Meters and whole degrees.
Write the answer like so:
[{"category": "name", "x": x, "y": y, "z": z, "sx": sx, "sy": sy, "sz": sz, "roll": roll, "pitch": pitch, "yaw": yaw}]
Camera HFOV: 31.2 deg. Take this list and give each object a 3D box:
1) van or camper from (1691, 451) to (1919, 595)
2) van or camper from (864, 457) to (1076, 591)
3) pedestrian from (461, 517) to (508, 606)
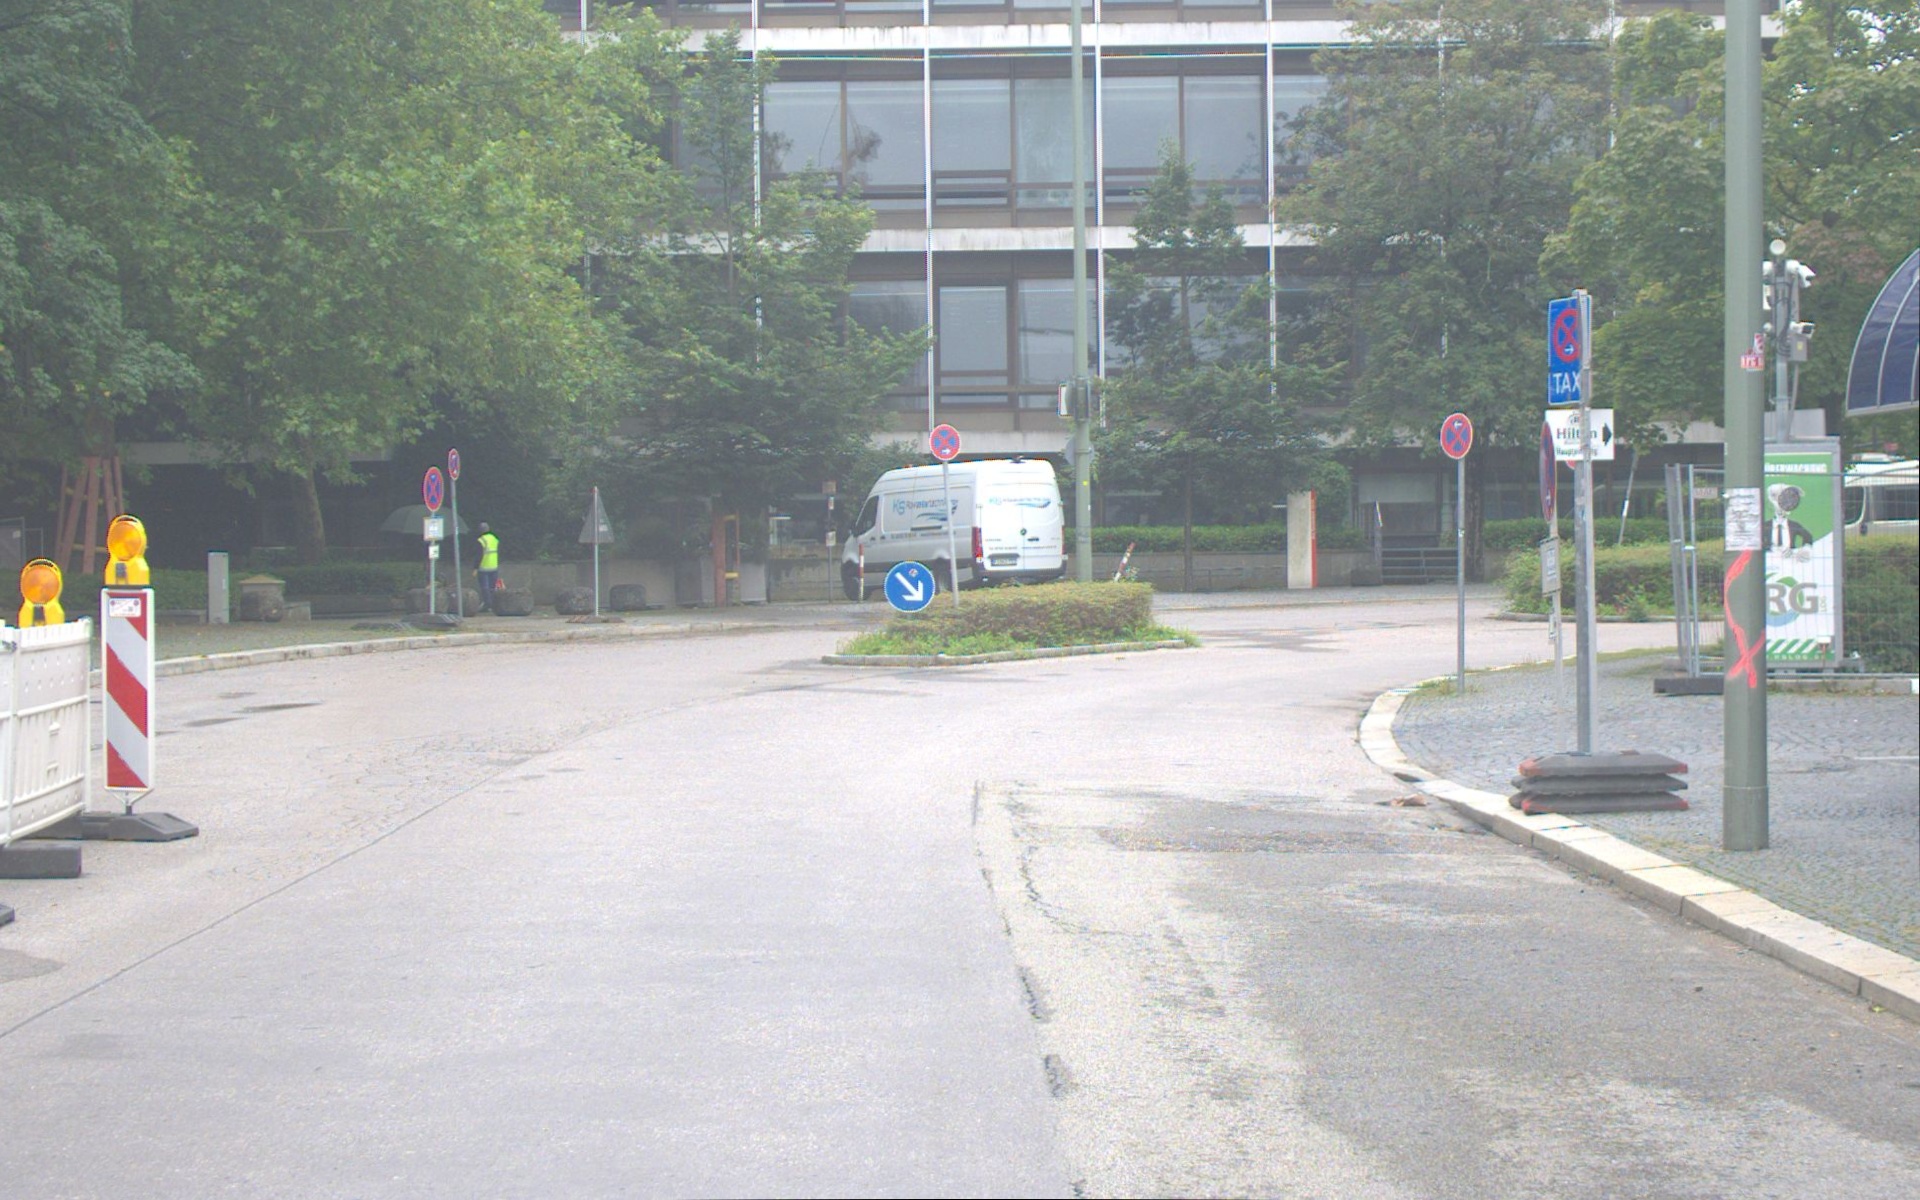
[{"category": "van or camper", "x": 16.110, "y": -1.433, "z": 63.888, "sx": 4.449, "sy": 2.576, "sz": 2.109, "roll": -1, "pitch": 1, "yaw": -10}, {"category": "van or camper", "x": 0.145, "y": -1.463, "z": 66.707, "sx": 2.085, "sy": 2.483, "sz": 5.068, "roll": -1, "pitch": 1, "yaw": -26}, {"category": "pedestrian", "x": -9.045, "y": -0.736, "z": 65.409, "sx": 0.741, "sy": 1.671, "sz": 0.682, "roll": -1, "pitch": 1, "yaw": -19}]
